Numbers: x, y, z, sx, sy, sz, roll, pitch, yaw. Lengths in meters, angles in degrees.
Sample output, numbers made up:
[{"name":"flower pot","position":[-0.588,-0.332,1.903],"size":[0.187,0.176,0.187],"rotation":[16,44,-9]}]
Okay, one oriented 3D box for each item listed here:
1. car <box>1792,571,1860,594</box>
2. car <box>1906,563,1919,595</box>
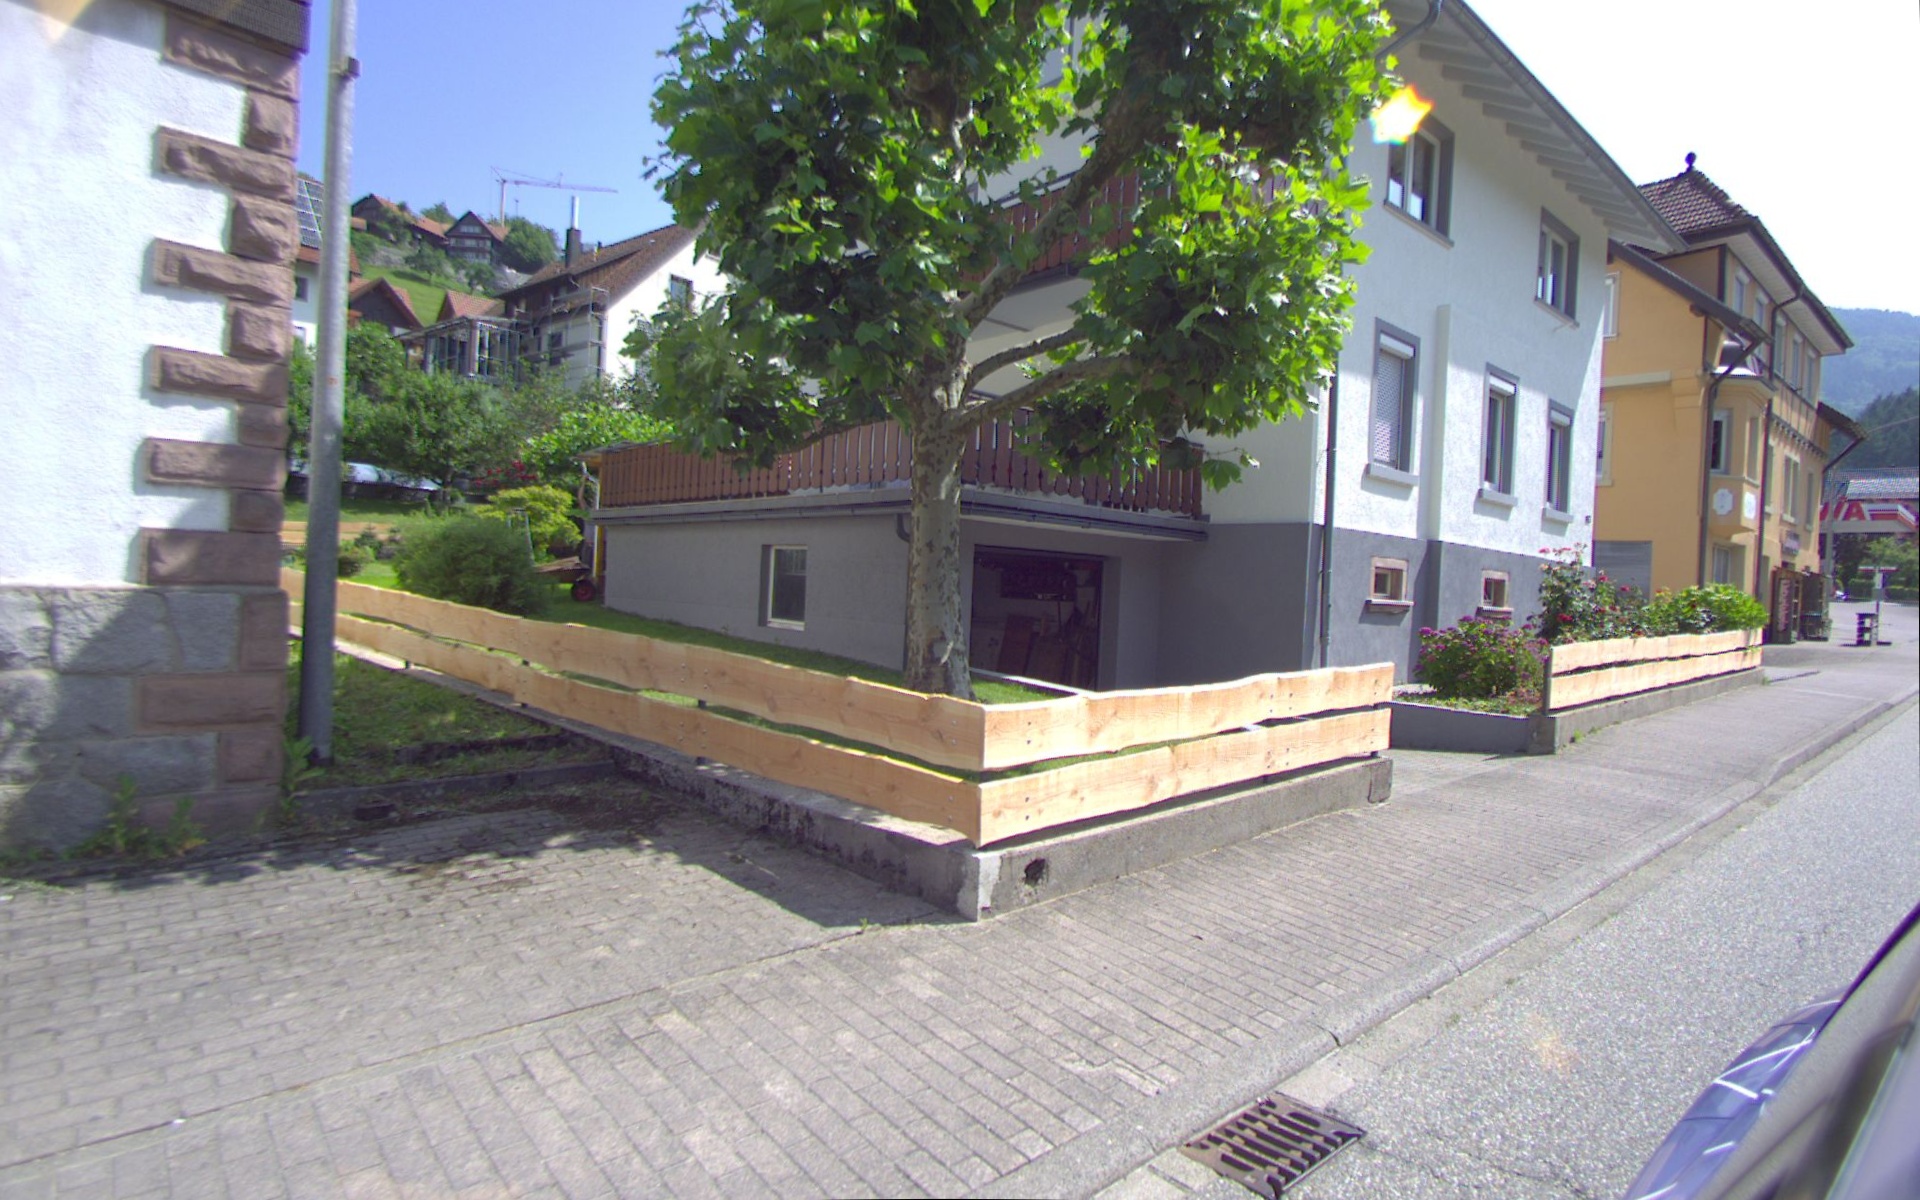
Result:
[{"name":"car","position":[54.966,-1.119,64.276],"size":[1.312,1.157,3.081],"rotation":[-2,7,-42]},{"name":"car","position":[51.643,-1.075,53.573],"size":[3.842,1.595,1.697],"rotation":[-1,7,-40]}]
